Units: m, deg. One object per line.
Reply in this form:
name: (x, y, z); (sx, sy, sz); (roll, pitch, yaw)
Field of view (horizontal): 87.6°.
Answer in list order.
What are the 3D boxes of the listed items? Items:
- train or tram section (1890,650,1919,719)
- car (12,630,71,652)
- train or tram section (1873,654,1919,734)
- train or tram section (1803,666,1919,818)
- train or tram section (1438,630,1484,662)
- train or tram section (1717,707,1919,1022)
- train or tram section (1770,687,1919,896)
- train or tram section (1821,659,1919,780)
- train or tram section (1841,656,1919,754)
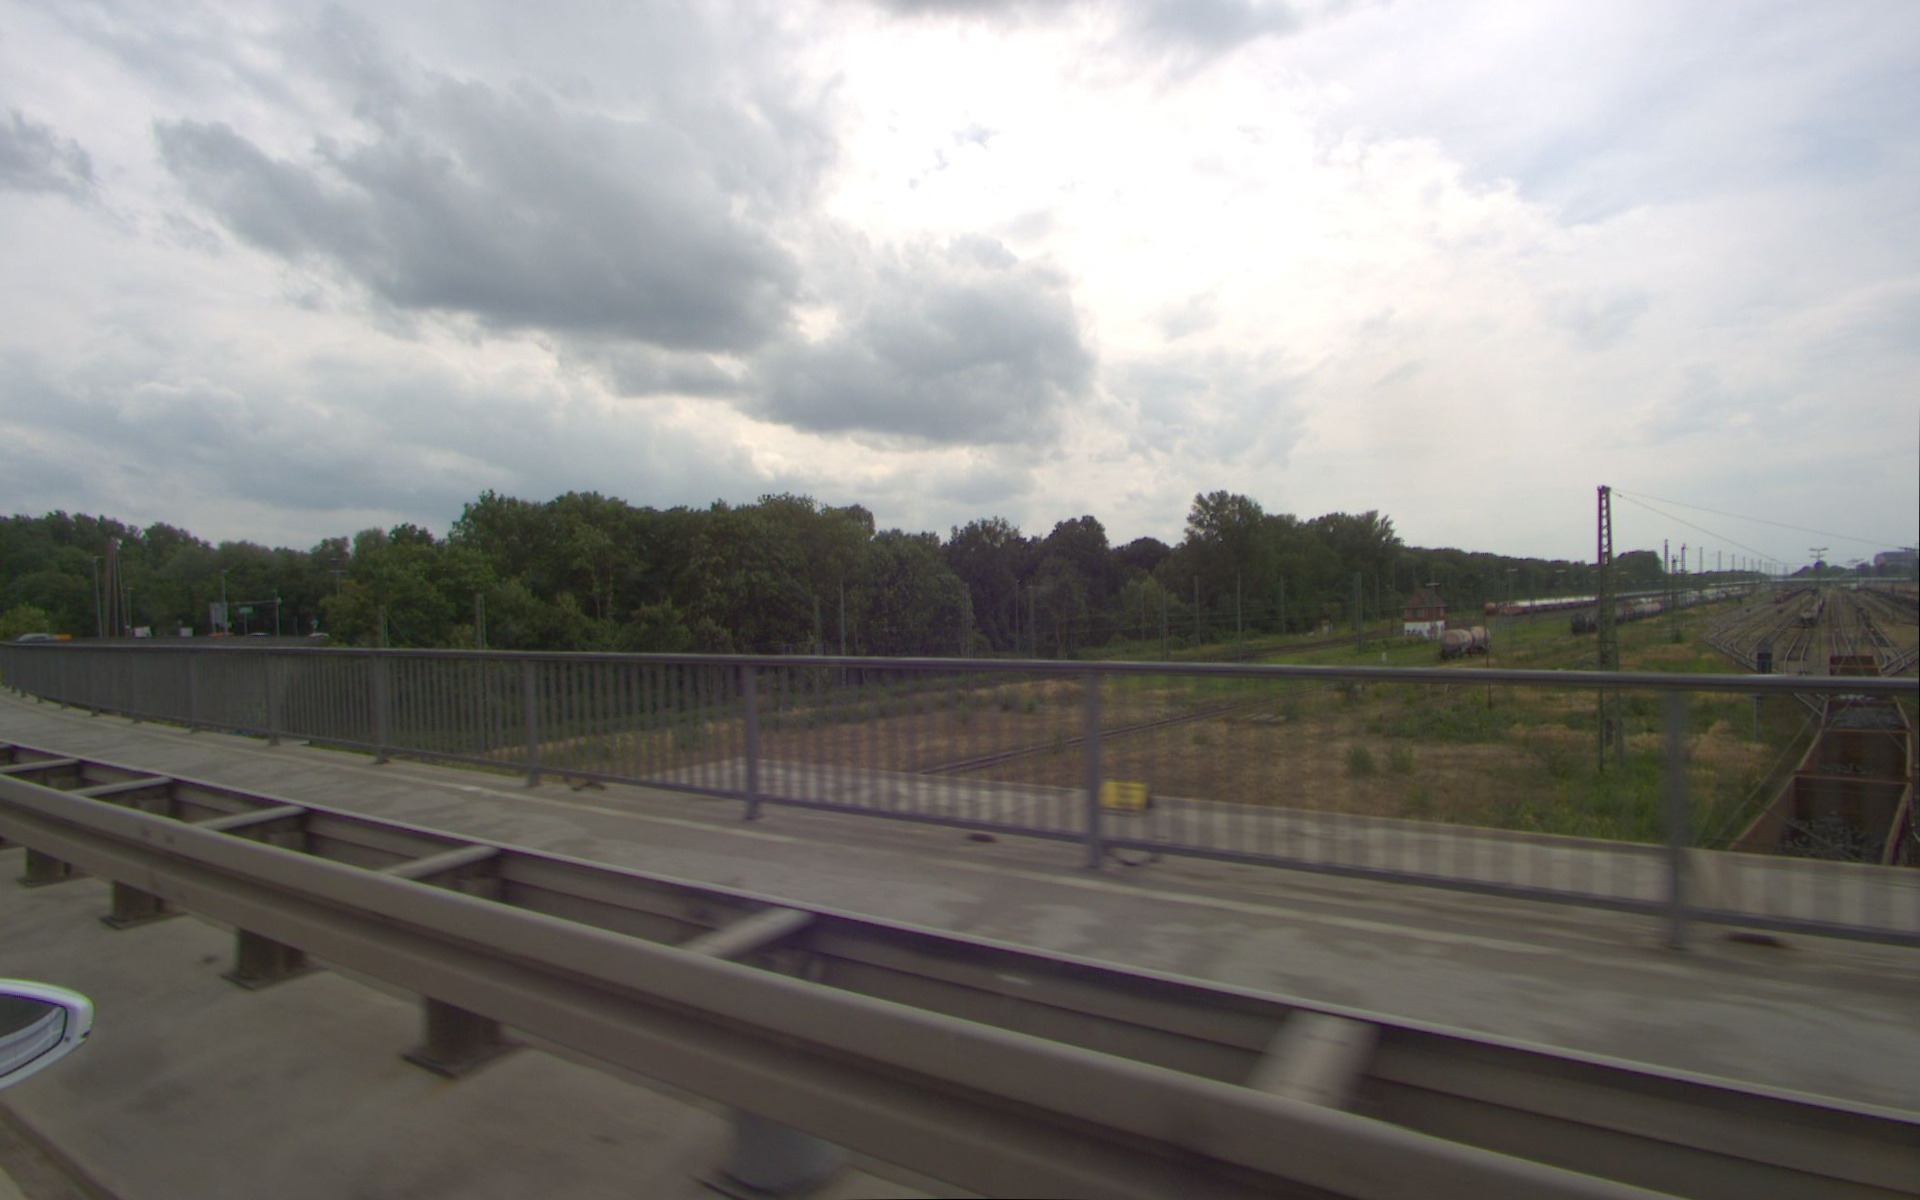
train or tram section: (91.332, 7.711, 94.670); (25.453, 5.550, 3.954); (2, -2, -45)
car: (-63.411, 2.820, 69.227); (1.786, 1.495, 4.367); (1, -2, -25)
train or tram section: (76.604, 7.289, 80.401); (15.413, 5.696, 3.768); (2, -2, -44)
train or tram section: (42.439, 6.164, 46.761); (3.804, 5.750, 13.787); (-1, -2, 44)
train or tram section: (69.914, 6.375, 139.576); (3.215, 4.221, 11.298); (-1, -2, 40)
train or tram section: (23.491, 6.140, 26.858); (3.614, 5.645, 13.534); (-1, -2, 43)
train or tram section: (32.842, 6.343, 36.668); (3.621, 5.670, 14.130); (-1, -2, 44)
train or tram section: (52.439, 6.439, 57.216); (3.937, 5.749, 14.879); (-1, -2, 44)
train or tram section: (64.289, 6.853, 68.844); (18.096, 5.714, 3.923); (2, -2, -43)
